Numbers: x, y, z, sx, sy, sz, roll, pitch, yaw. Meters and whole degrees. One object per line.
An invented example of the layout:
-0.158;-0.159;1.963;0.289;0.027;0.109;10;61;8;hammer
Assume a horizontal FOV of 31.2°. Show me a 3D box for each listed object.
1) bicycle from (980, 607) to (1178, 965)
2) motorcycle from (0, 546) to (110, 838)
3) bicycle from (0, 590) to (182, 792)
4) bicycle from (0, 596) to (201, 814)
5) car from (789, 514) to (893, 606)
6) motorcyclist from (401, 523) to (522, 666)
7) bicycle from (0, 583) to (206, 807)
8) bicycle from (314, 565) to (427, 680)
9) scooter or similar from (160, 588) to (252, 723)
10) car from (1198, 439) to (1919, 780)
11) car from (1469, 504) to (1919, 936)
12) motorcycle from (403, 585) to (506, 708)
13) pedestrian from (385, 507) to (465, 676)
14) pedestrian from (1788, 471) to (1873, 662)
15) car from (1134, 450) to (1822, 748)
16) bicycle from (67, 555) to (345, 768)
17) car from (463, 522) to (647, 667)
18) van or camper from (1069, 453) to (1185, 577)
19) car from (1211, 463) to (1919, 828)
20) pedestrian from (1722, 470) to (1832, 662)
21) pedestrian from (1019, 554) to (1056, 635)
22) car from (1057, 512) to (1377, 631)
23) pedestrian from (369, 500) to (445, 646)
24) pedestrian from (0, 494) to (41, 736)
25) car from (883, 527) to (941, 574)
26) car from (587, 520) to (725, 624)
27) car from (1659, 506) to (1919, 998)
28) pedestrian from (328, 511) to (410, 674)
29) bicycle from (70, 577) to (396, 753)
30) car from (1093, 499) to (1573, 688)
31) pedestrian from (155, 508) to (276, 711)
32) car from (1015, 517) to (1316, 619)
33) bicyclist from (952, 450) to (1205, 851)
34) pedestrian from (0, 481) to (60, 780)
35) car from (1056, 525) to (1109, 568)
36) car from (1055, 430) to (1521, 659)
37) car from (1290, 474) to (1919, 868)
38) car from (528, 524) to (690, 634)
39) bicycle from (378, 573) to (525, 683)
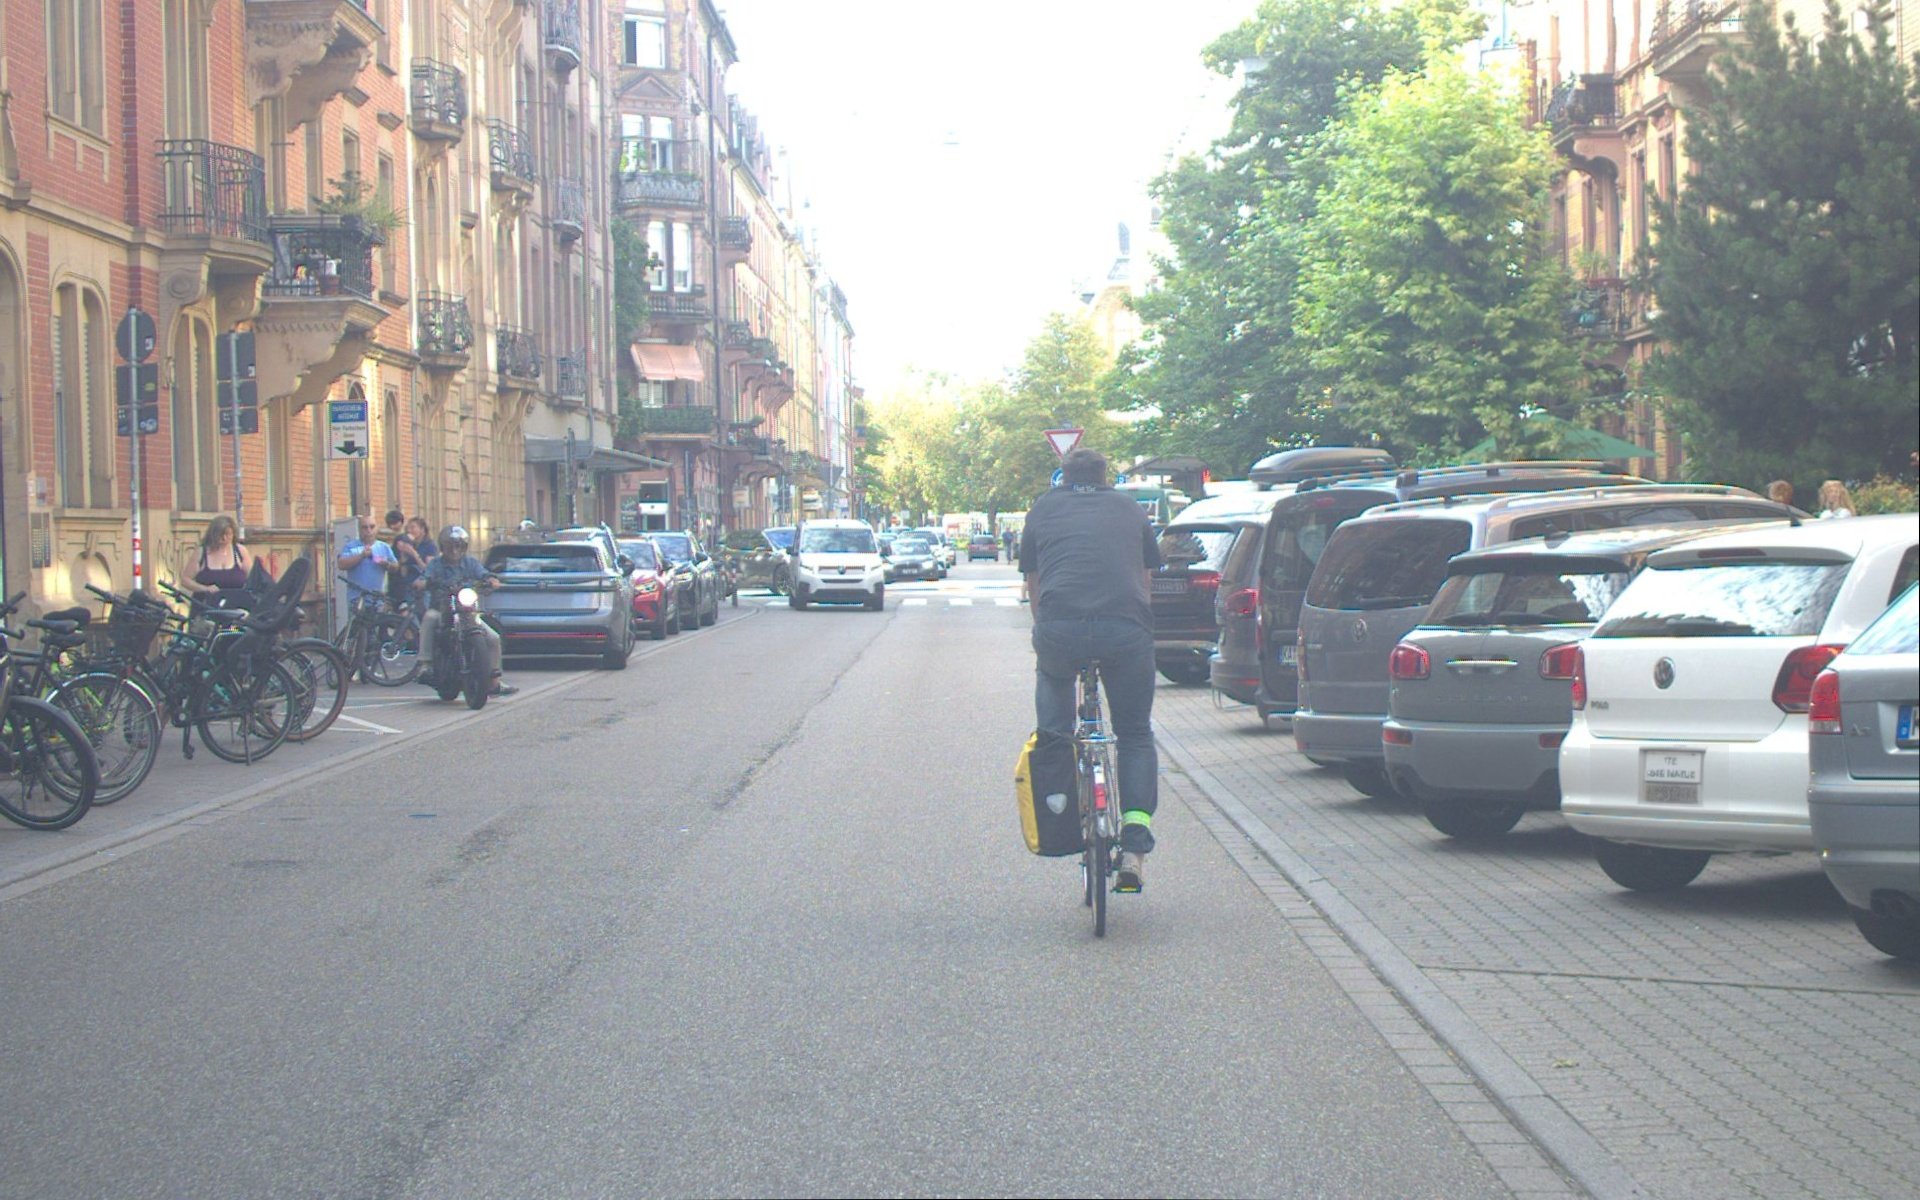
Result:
0.417;0.640;13.049;0.666;1.174;2.497;0;1;0;bicycle
-4.883;0.437;16.445;0.707;1.379;2.022;1;1;15;motorcycle
-5.352;0.509;19.556;1.733;1.116;0.555;-1;1;-36;bicycle
-4.905;0.550;18.349;1.565;1.116;0.591;-1;1;-36;bicycle
-2.405;-0.835;70.498;1.917;1.822;4.438;0;1;1;car
-4.374;-0.058;30.222;1.013;1.241;0.803;0;1;-5;motorcyclist
-5.120;0.514;18.966;1.785;1.196;0.591;-1;1;-36;bicycle
-5.816;0.204;34.009;0.493;1.091;1.904;1;1;9;bicycle
-6.059;0.440;27.643;0.605;1.051;0.922;0;1;-5;scooter or similar
3.845;0.012;21.619;4.389;1.816;1.755;-4;1;-31;car
4.185;0.324;13.731;3.987;1.445;1.736;-5;1;-32;car
-4.395;0.385;30.021;0.793;0.992;2.500;0;1;-6;motorcycle
-5.460;-0.096;35.080;0.564;1.703;0.667;0;1;-35;pedestrian
7.619;-0.294;30.107;0.573;1.653;0.633;0;1;1;pedestrian
3.689;-0.047;25.034;4.636;1.778;1.810;-4;3;-1;car
-4.829;0.371;22.074;1.672;1.317;0.527;-1;1;-35;bicycle
-4.643;-0.106;40.020;1.825;1.573;5.264;0;1;-3;car
4.210;-2.151;87.339;2.531;3.027;4.459;-1;1;-2;van or camper
3.582;0.179;18.976;3.987;1.735;1.840;-3;2;-30;car
7.303;-0.311;30.733;0.646;1.689;0.699;-1;1;-43;pedestrian
1.694;-0.130;75.139;0.629;1.733;0.775;-1;1;13;pedestrian
3.820;-0.444;50.781;4.455;1.459;1.879;-5;3;-34;car
-6.898;-0.344;42.929;0.756;1.802;0.863;0;1;4;pedestrian
-6.861;0.100;24.269;0.563;1.690;0.647;0;1;-31;pedestrian
-1.516;-1.526;107.469;1.750;1.431;4.212;0;0;-1;car
-4.984;-0.478;56.888;1.790;1.623;4.847;-1;1;0;car
4.433;0.343;11.322;3.988;1.456;1.887;-4;1;-35;car
-6.051;-0.082;35.216;0.679;1.655;0.551;0;1;-30;pedestrian
-5.095;0.426;24.235;0.808;1.155;2.265;1;1;38;bicycle
3.678;-0.116;33.627;4.444;1.726;2.000;-1;2;-34;car
-6.152;0.069;28.446;0.910;1.655;0.828;0;1;-8;pedestrian
3.548;-0.585;59.206;4.753;1.452;2.057;-4;3;-27;car
0.438;0.180;13.084;0.933;1.478;0.747;0;1;0;bicyclist
-5.843;0.171;20.394;0.605;1.745;0.945;0;1;13;pedestrian
4.109;-1.812;115.551;1.645;1.320;3.576;-4;1;2;car
3.796;-0.671;39.342;5.143;2.397;1.918;-3;1;-32;car
3.723;0.237;16.397;3.988;1.543;1.868;-5;2;-37;car
-5.196;-0.334;51.419;1.993;1.539;4.427;-1;1;-1;car
-5.058;0.265;34.321;0.482;1.055;1.902;1;1;24;bicycle
